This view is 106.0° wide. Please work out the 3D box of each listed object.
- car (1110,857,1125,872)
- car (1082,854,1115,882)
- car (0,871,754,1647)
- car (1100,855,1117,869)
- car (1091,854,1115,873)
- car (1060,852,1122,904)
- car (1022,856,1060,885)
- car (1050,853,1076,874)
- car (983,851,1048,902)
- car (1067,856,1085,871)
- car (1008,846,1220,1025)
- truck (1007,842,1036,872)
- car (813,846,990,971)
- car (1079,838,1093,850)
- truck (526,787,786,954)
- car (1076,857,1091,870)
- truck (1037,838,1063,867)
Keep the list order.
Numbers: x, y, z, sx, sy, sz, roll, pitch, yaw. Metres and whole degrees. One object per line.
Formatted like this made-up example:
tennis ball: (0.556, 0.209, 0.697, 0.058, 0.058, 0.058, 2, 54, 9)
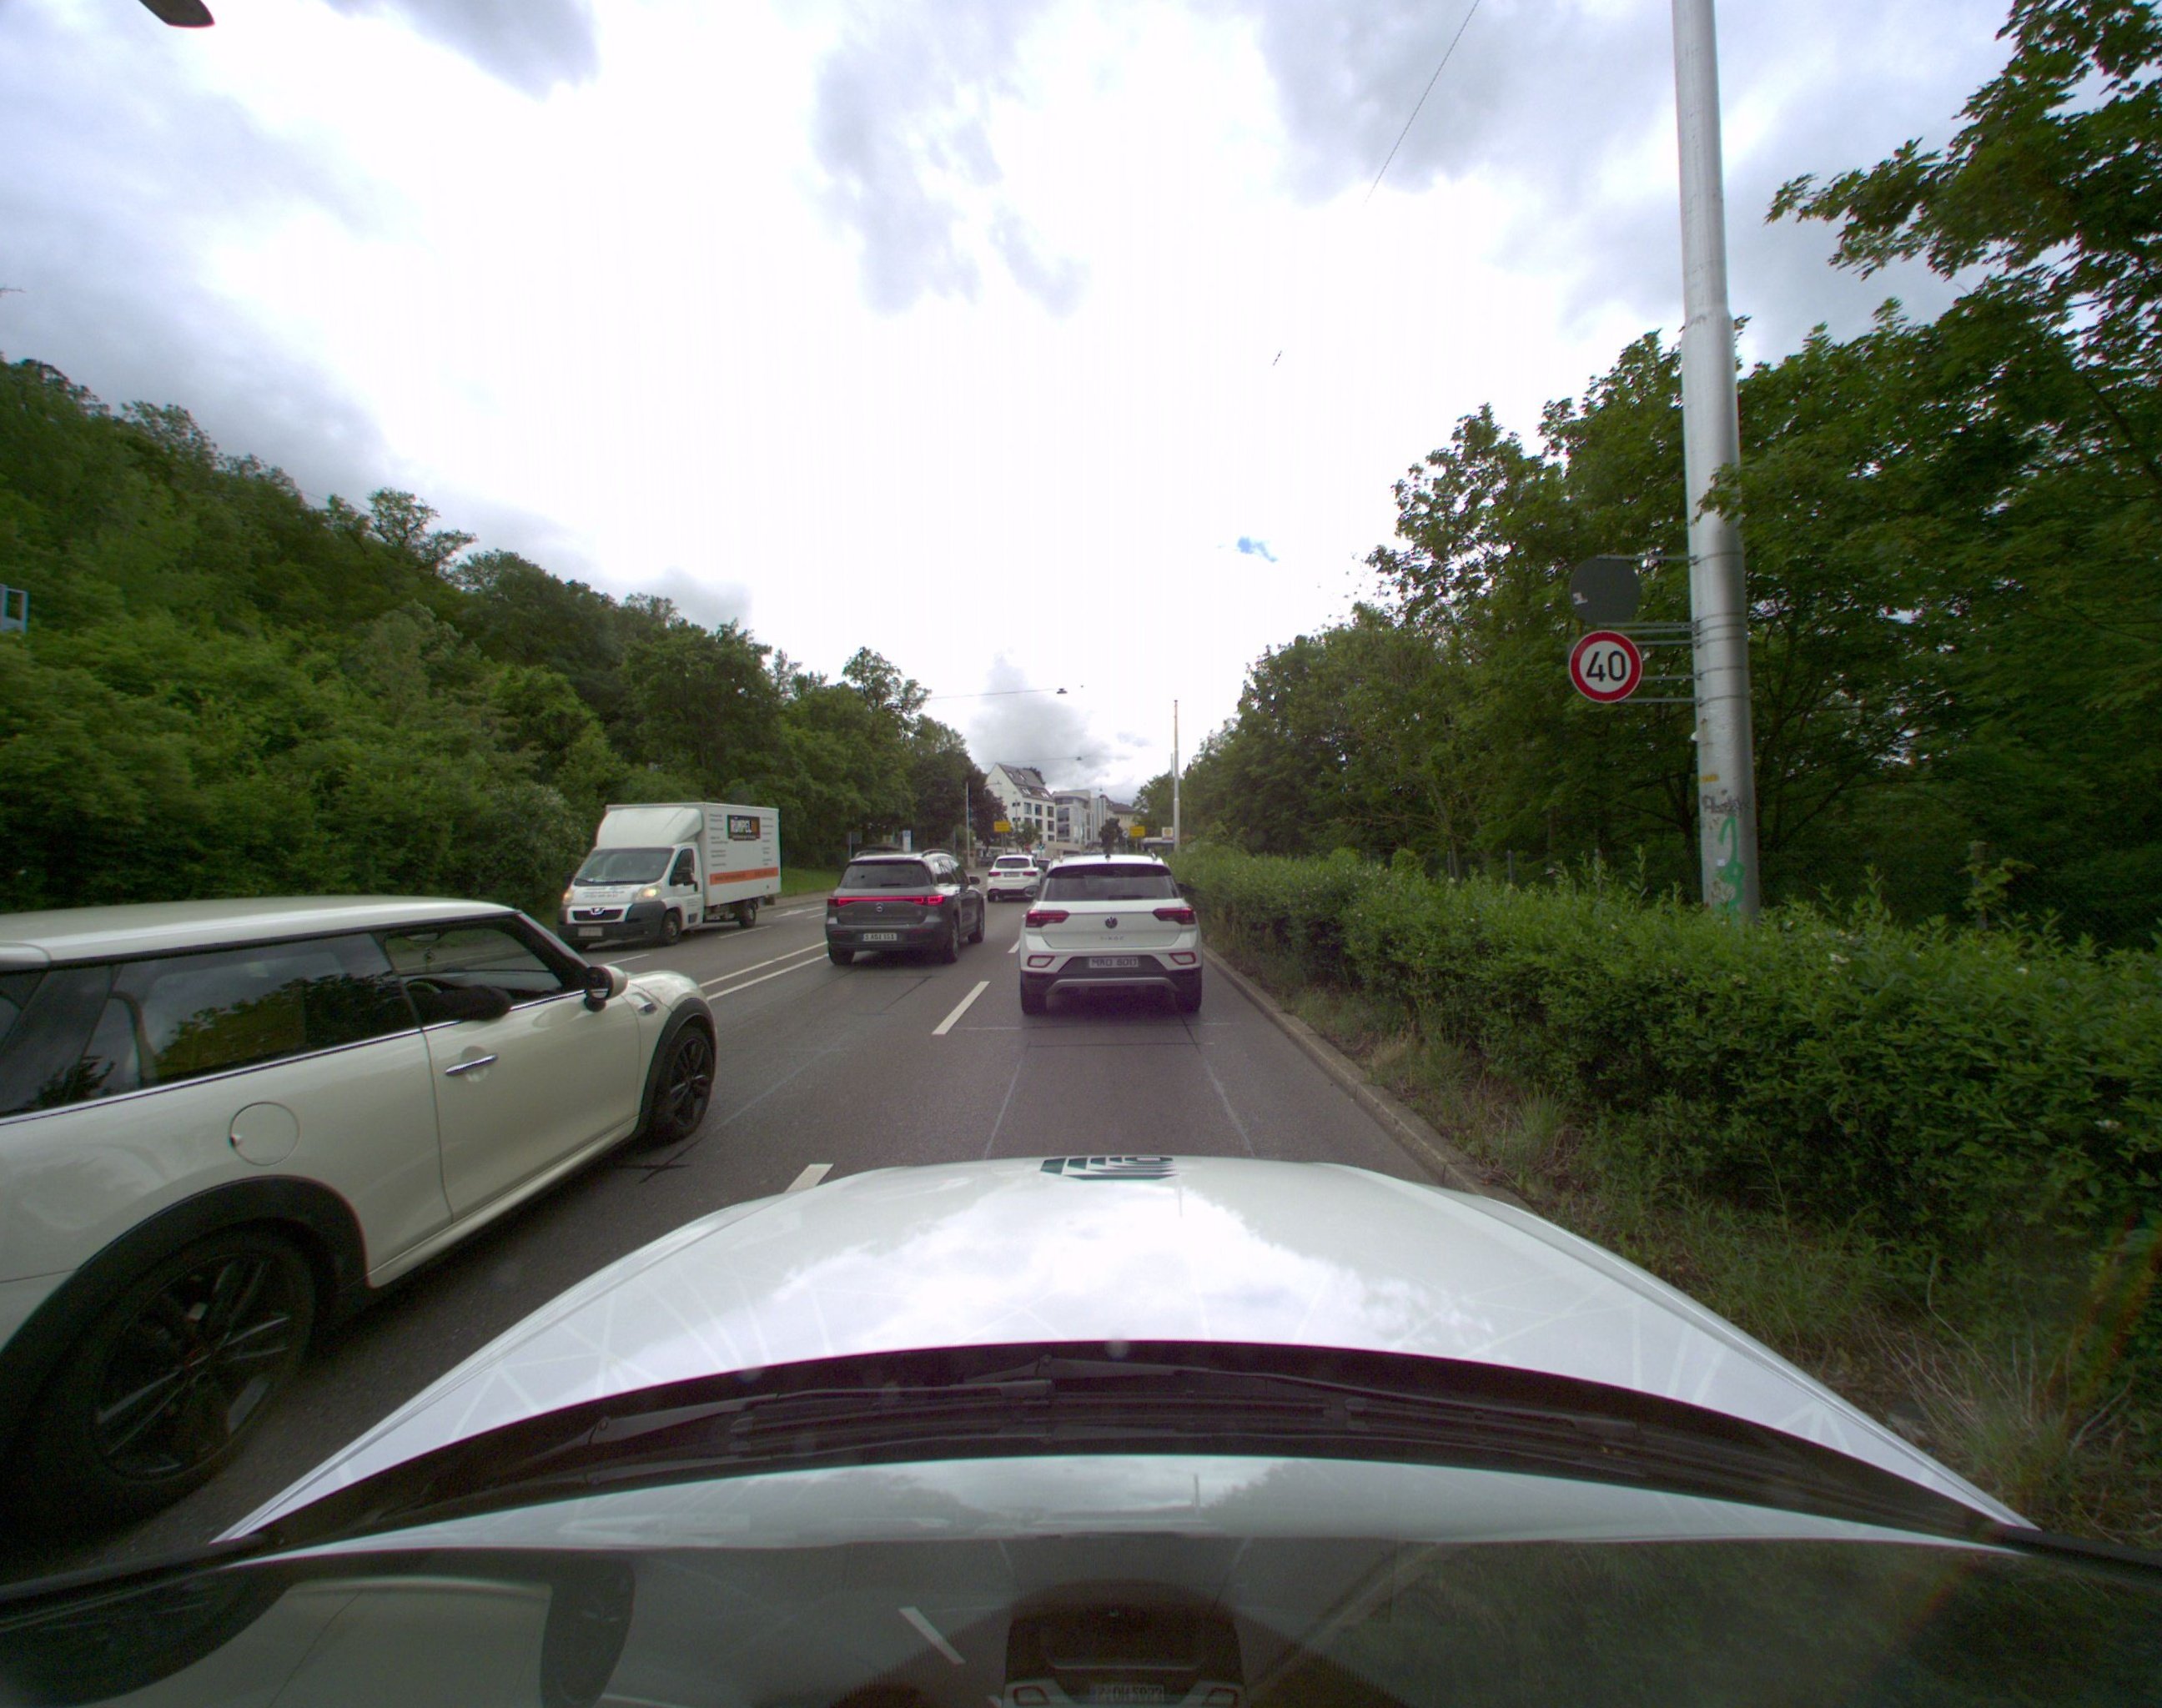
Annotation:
car: (5.182, 1.504, 116.303, 1.987, 1.969, 3.999, -2, 0, 0)
car: (1.025, 0.789, 48.090, 1.823, 1.526, 4.001, -2, 0, 1)
car: (-2.919, 0.833, 3.245, 1.679, 1.424, 3.732, -1, 0, 0)
car: (3.057, 0.858, 92.203, 1.823, 1.526, 4.001, -2, 0, 1)
car: (1.830, 0.775, 68.420, 1.823, 1.526, 4.001, -2, 0, 1)
car: (0.348, 0.738, 26.873, 1.823, 1.526, 4.001, -2, 0, 1)
car: (-2.199, 0.886, 45.670, 1.823, 1.497, 4.001, -2, 0, 1)
car: (-1.370, 0.753, 63.723, 1.823, 1.526, 4.001, -2, 0, 1)
car: (-2.282, 0.765, 29.378, 1.911, 1.669, 4.001, -1, 0, 1)
car: (-0.515, 1.033, 90.120, 1.823, 1.526, 4.001, -2, 0, 1)
car: (0.326, 0.720, 9.179, 1.823, 1.526, 4.001, -2, 0, 1)
truck: (-5.905, 0.288, 81.098, 2.354, 2.706, 4.478, -3, 0, 1)
car: (-2.675, 0.738, 13.211, 1.843, 1.651, 4.357, -1, 0, 0)
car: (0.728, -1.416, 116.833, 1.823, 1.526, 4.001, -2, 0, 1)
truck: (-9.281, 0.336, 18.850, 2.286, 3.051, 6.977, -2, -1, 0)
car: (0.367, 1.218, 109.376, 1.809, 1.656, 3.929, -3, 0, 1)
truck: (-3.208, -0.166, 85.641, 2.354, 2.782, 4.478, -3, 0, 1)
